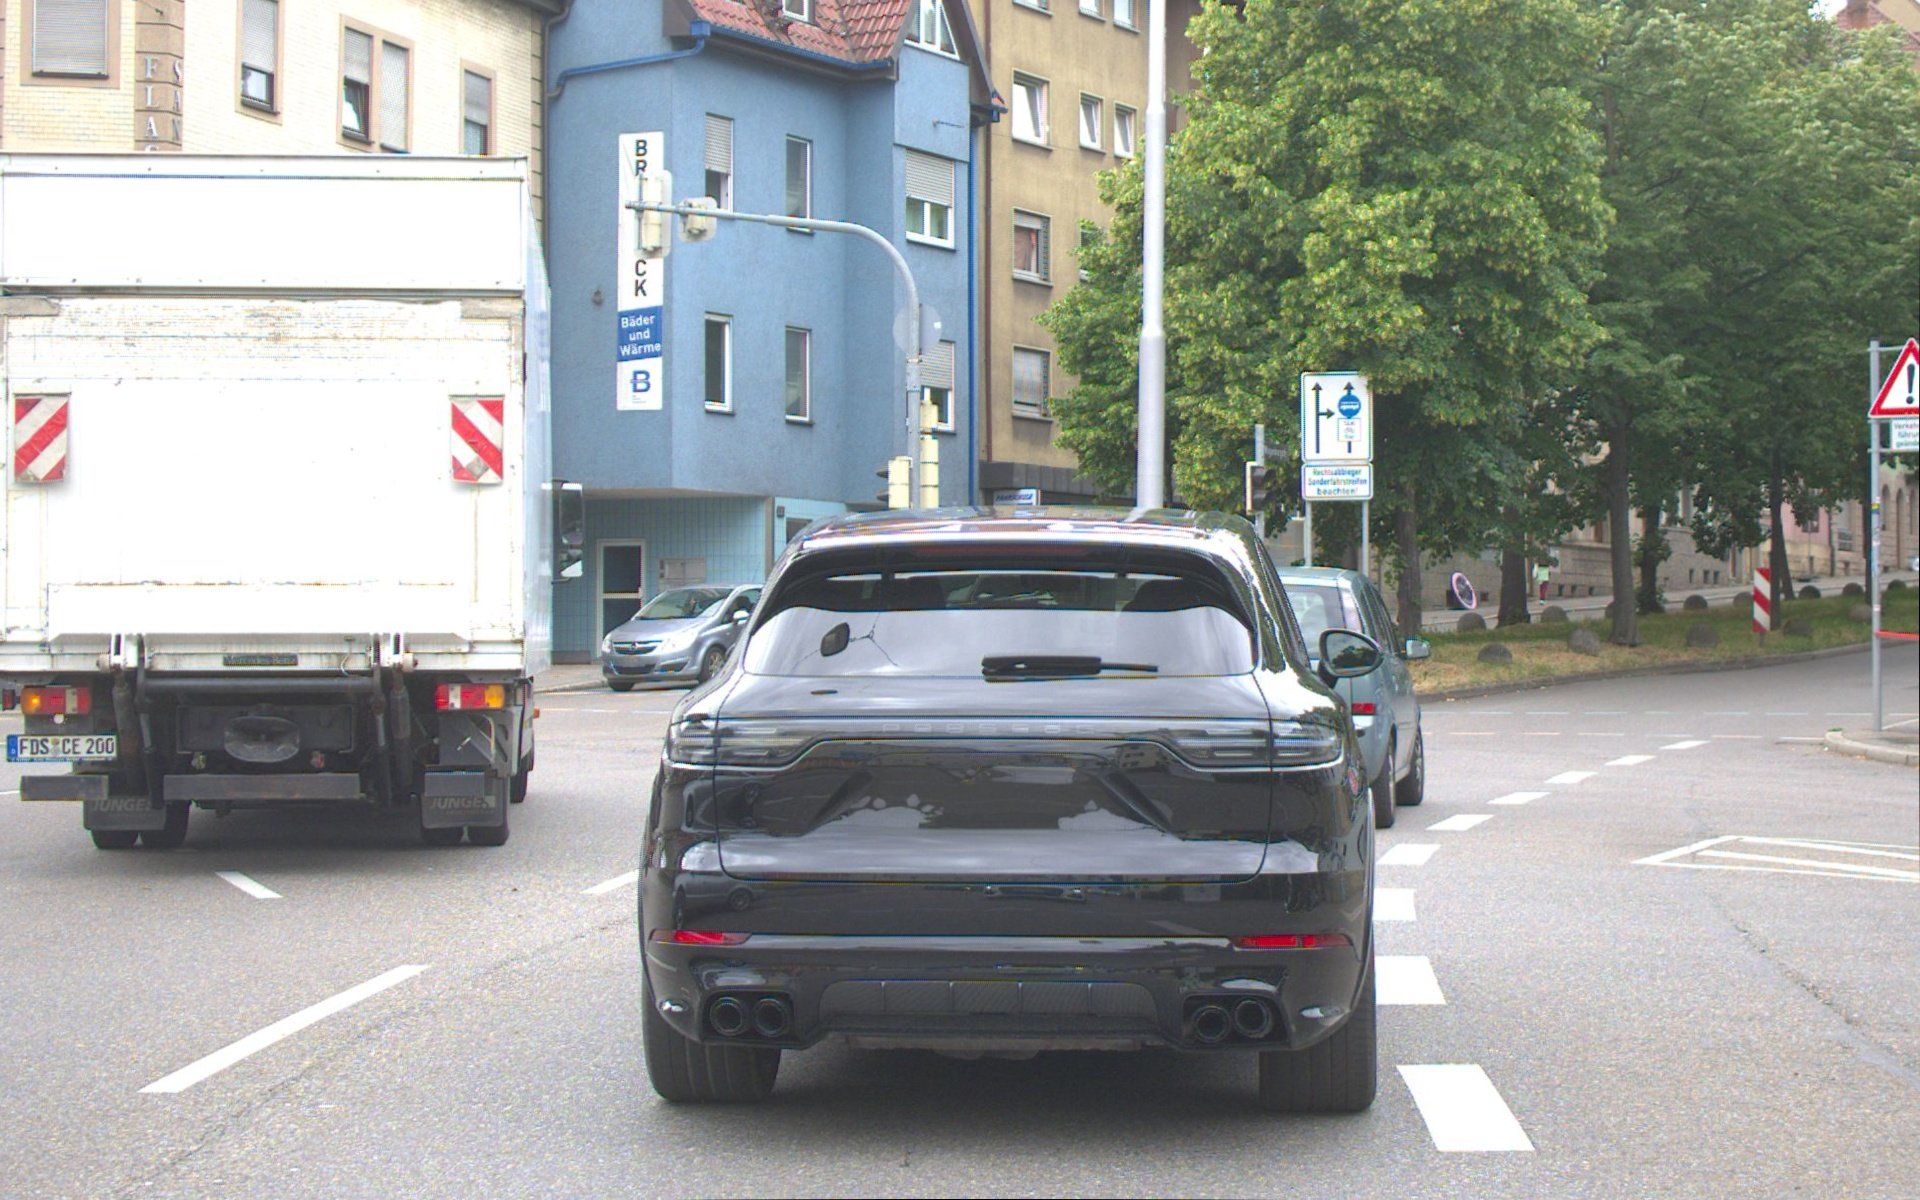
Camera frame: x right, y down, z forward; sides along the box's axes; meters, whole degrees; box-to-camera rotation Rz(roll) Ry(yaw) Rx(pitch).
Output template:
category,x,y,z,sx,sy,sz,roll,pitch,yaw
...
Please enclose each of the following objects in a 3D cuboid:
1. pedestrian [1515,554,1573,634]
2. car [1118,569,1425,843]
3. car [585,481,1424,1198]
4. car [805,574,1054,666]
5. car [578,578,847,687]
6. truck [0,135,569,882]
category,x,y,z,sx,sy,sz,roll,pitch,yaw
pedestrian,14.781,-0.152,87.028,1.194,2.007,0.987,1,0,28
car,2.058,0.620,21.899,1.649,1.550,3.581,2,0,9
car,0.239,0.544,10.657,2.032,1.717,4.499,1,1,4
car,-0.434,0.337,54.800,1.873,1.411,4.690,0,-1,29
car,-3.465,0.450,48.878,1.719,1.471,4.211,-1,0,30
truck,-3.797,-0.471,20.599,2.725,3.532,8.423,1,1,-6
